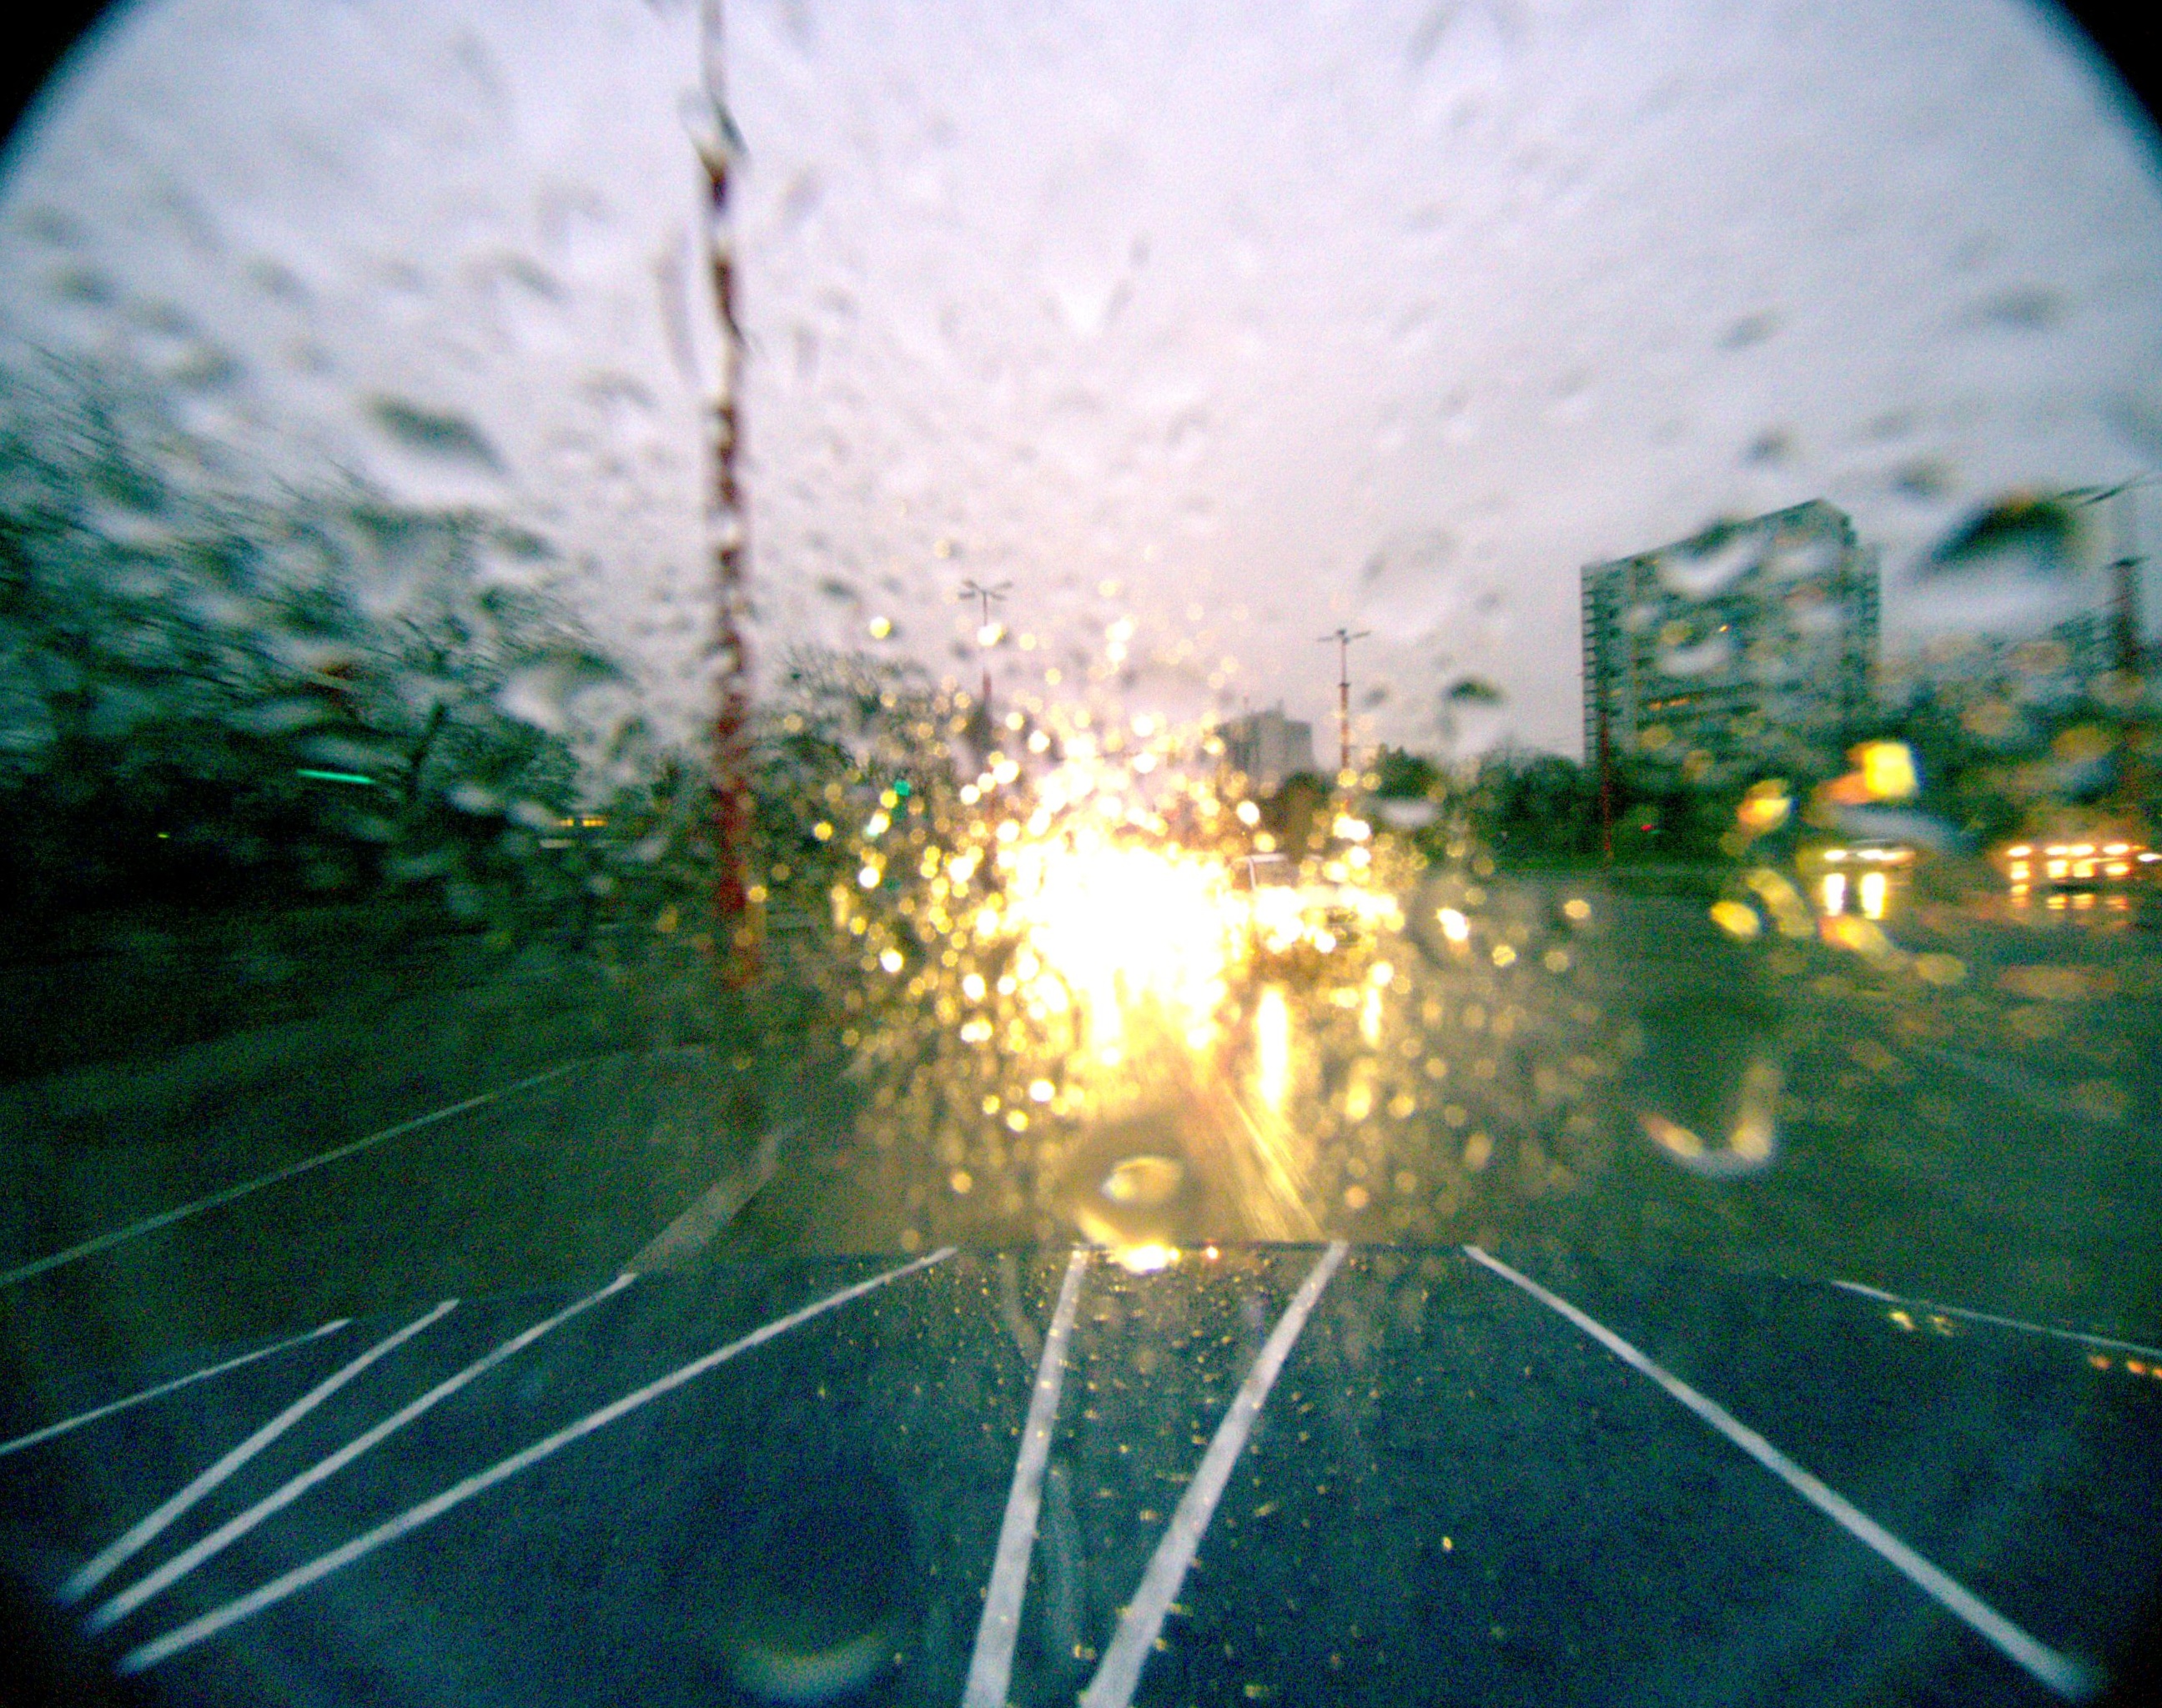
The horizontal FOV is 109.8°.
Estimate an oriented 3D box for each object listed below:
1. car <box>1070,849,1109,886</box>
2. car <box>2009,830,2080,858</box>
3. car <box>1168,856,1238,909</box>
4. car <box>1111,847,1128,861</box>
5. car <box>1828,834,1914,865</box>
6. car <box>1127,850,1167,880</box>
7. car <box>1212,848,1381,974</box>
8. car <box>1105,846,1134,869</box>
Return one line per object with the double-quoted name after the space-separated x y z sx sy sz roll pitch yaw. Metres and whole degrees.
0.370 0.606 35.761 1.679 1.590 4.044 -2 1 0 "car"
55.842 -0.590 44.014 4.005 1.535 1.709 -1 1 -25 "car"
4.048 0.909 25.838 1.694 1.530 4.190 -3 1 1 "car"
5.057 0.003 99.943 1.998 1.605 3.999 -3 1 1 "car"
41.993 -0.253 40.386 4.446 1.535 1.848 -1 1 -25 "car"
3.779 0.605 44.019 1.952 1.590 4.124 -2 1 0 "car"
3.226 0.747 12.211 1.718 1.638 4.147 -2 1 3 "car"
2.898 0.251 57.729 1.952 1.590 4.124 -2 1 0 "car"
